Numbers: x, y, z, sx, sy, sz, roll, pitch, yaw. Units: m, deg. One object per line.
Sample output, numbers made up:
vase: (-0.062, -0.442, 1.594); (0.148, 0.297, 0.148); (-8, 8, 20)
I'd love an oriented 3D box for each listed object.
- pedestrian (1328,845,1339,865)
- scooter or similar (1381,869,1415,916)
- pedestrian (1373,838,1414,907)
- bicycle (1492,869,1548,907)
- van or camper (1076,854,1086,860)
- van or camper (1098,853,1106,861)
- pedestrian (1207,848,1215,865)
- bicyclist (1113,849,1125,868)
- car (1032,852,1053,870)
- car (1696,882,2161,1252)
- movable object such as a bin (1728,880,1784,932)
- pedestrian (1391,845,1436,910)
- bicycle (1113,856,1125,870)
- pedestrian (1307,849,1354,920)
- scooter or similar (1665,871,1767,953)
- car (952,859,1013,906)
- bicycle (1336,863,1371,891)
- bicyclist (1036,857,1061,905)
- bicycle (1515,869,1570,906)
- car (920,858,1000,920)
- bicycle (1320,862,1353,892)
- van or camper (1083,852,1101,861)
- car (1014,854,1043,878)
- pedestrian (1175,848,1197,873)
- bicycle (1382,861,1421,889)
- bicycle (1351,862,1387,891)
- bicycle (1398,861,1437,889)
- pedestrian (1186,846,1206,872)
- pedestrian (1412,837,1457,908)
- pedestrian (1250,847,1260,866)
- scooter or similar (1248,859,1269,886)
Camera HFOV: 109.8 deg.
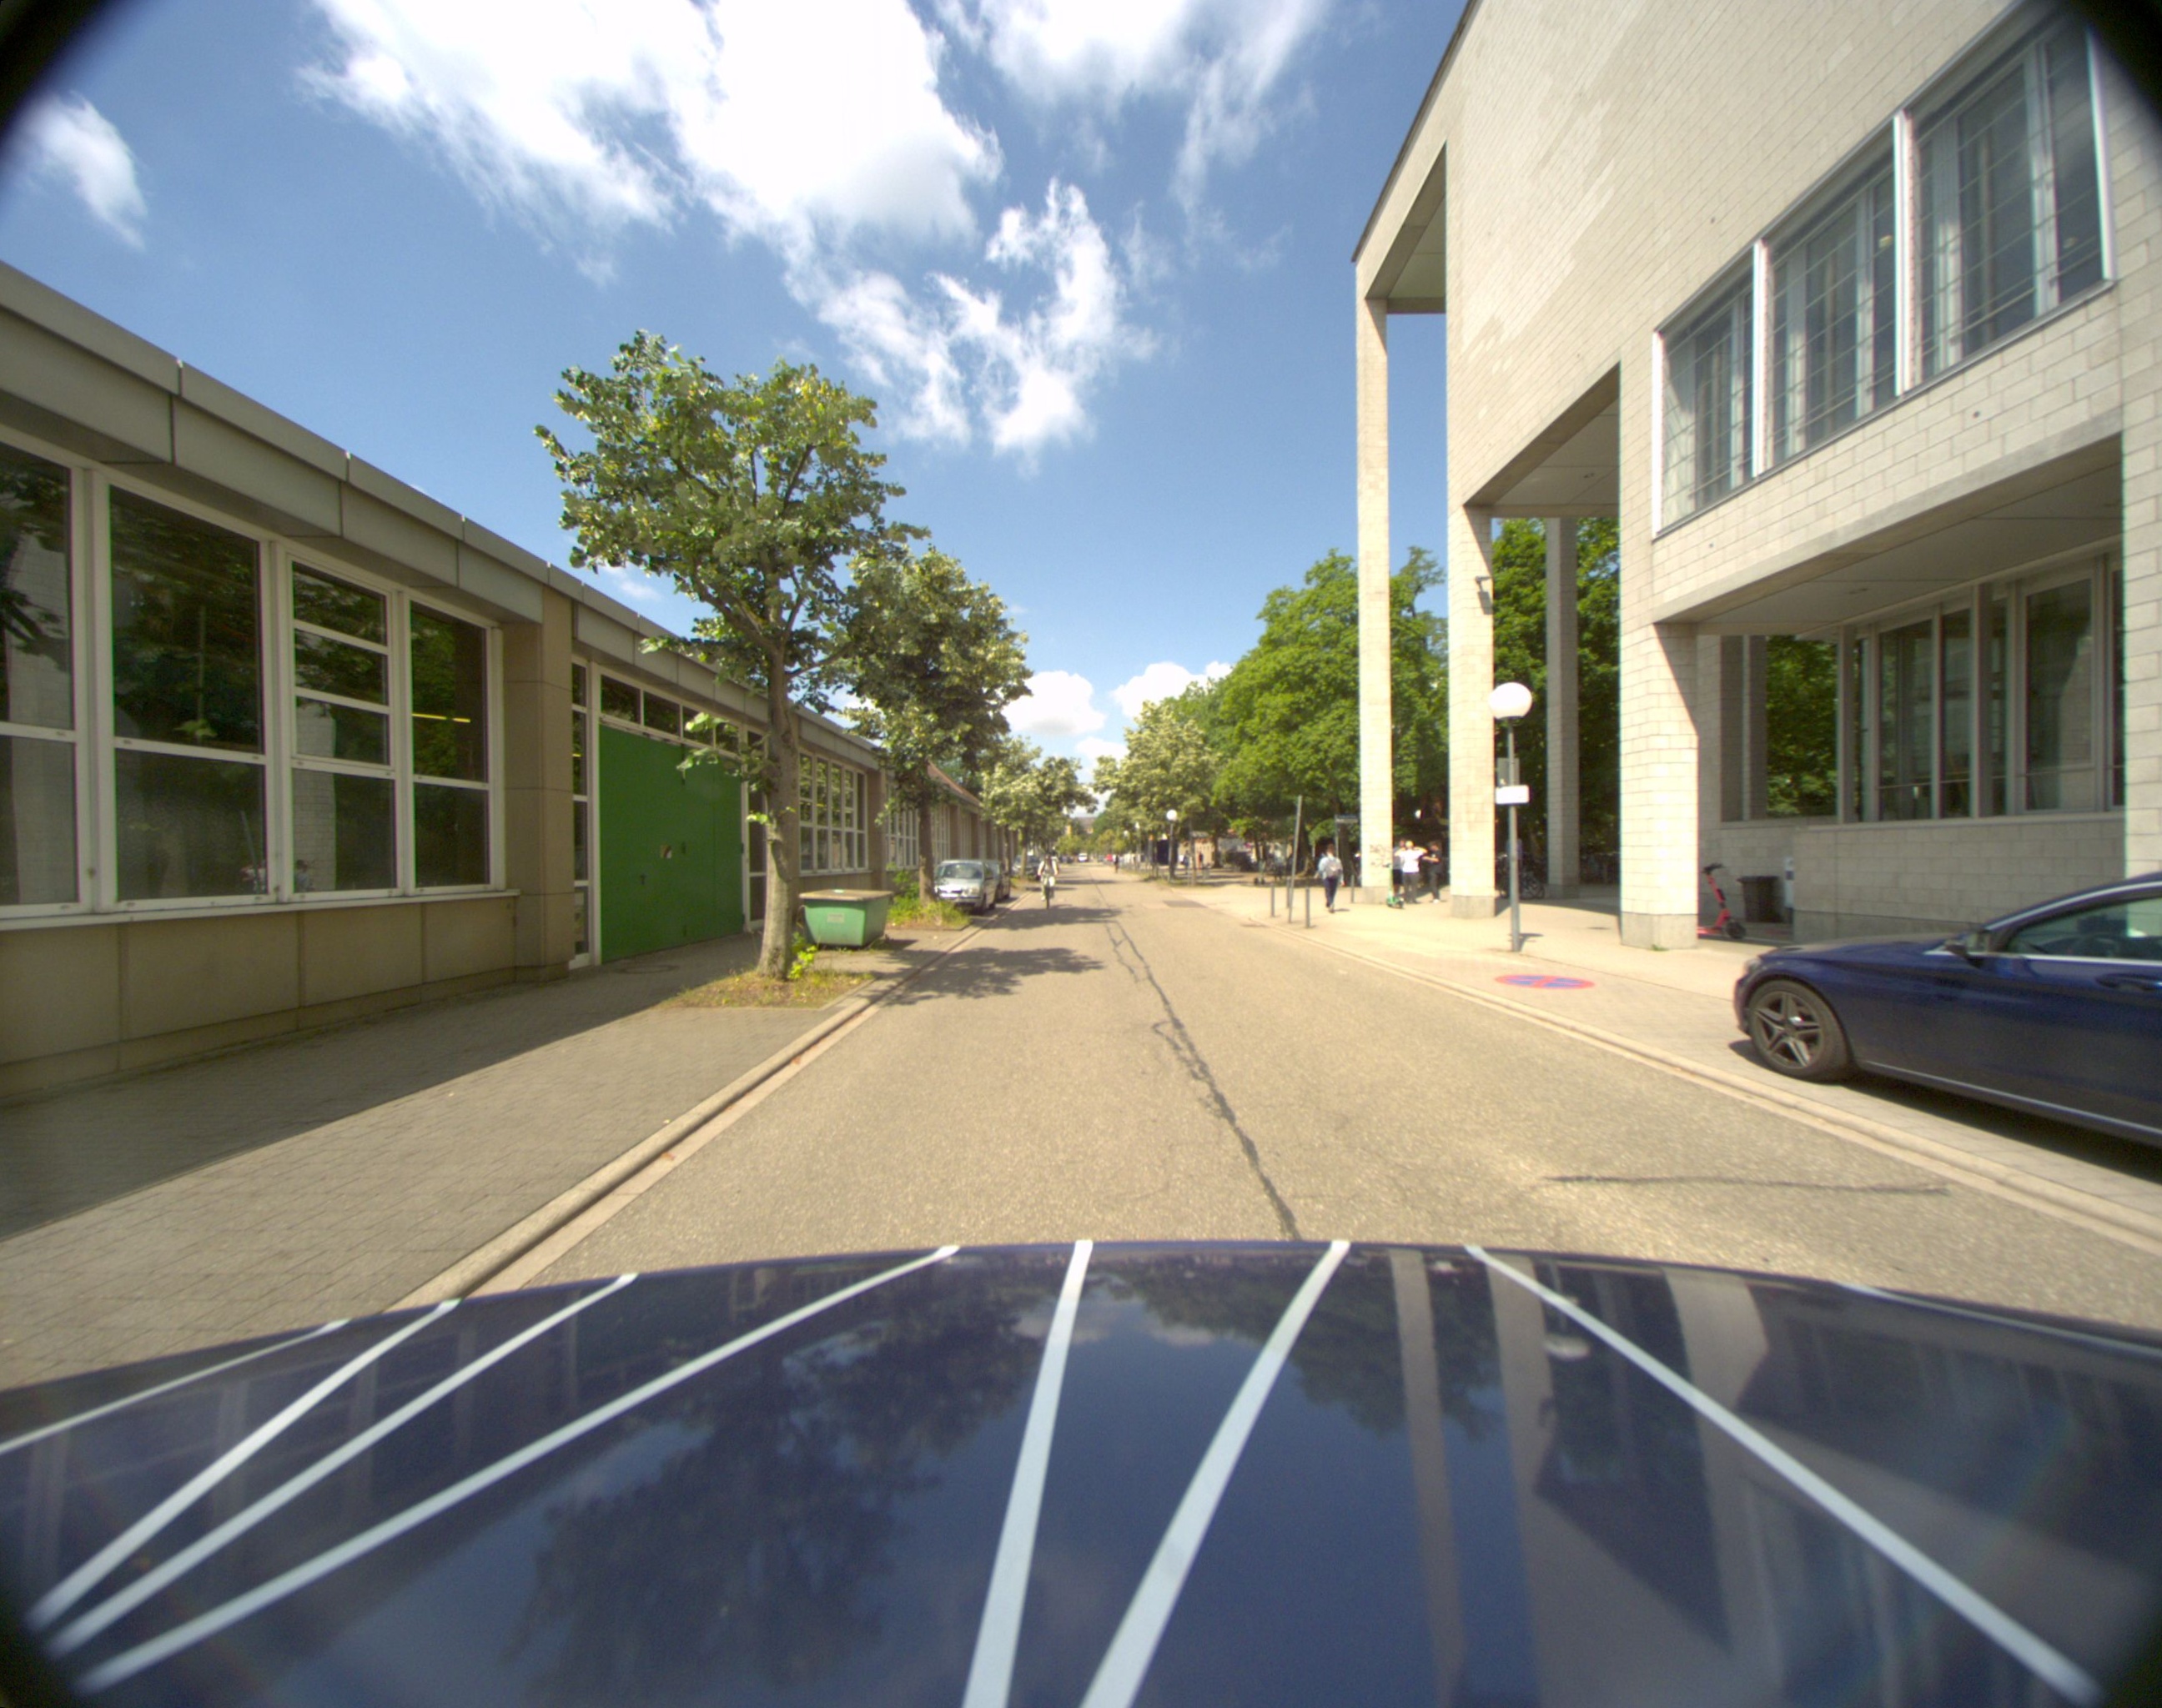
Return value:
pedestrian: (20.059, 0.077, 60.308); (0.587, 1.522, 0.503); (-2, 1, -21)
scooter or similar: (8.241, 0.983, 19.803); (0.317, 1.138, 1.313); (-1, 0, 0)
pedestrian: (9.351, 0.530, 22.780); (0.755, 2.002, 1.081); (-1, 1, -1)
bicycle: (12.845, 0.977, 22.308); (0.596, 0.980, 1.965); (-1, 1, 3)
van or camper: (0.080, 0.889, 230.117); (2.092, 1.963, 4.263); (-1, 1, 14)
van or camper: (6.085, 0.837, 221.341); (1.852, 2.093, 4.306); (-1, 1, 10)
pedestrian: (12.419, 0.223, 72.387); (0.678, 1.661, 0.815); (-1, 1, 6)
bicyclist: (3.478, 0.389, 69.925); (1.053, 1.690, 1.282); (-1, 1, 0)
car: (-3.260, 0.610, 65.544); (1.649, 1.484, 3.815); (1, 1, -1)
car: (5.359, 0.936, 3.226); (1.730, 1.414, 4.664); (-1, 0, 0)
movable object such as a bin: (13.433, 1.025, 15.143); (0.484, 0.973, 0.702); (-1, 1, 0)
pedestrian: (9.314, 0.636, 21.321); (0.755, 1.770, 1.081); (-1, 1, -1)
bicycle: (3.490, 0.791, 70.068); (1.011, 1.169, 3.394); (-1, 1, 1)
pedestrian: (6.318, 0.752, 19.324); (0.761, 1.715, 1.235); (-3, 1, 3)
scooter or similar: (10.082, 0.892, 12.087); (1.212, 1.225, 0.402); (-1, 1, 41)
car: (-3.384, 0.935, 26.705); (1.622, 1.455, 3.817); (2, 0, -1)
bicycle: (10.935, 0.901, 30.553); (0.592, 1.052, 2.124); (-1, 1, -1)
bicyclist: (-1.022, 0.849, 23.932); (0.781, 1.478, 0.695); (0, 1, -2)
bicycle: (13.469, 0.964, 22.253); (0.517, 0.980, 1.965); (-1, 1, 3)
car: (-3.278, 0.911, 21.200); (1.622, 1.503, 3.817); (2, 0, -1)
bicycle: (10.252, 0.907, 30.541); (0.508, 1.100, 2.000); (-1, 0, -4)
van or camper: (2.840, 0.642, 189.212); (1.994, 2.348, 4.392); (0, 0, 43)
car: (-3.420, 0.749, 49.901); (1.649, 1.484, 3.815); (1, 1, -1)
pedestrian: (7.853, 0.452, 56.939); (1.400, 1.813, 1.369); (-1, 1, -1)
bicycle: (12.885, 0.821, 30.590); (0.622, 1.052, 2.124); (-1, 1, -1)
bicycle: (11.573, 0.887, 30.569); (0.622, 1.052, 2.124); (-1, 1, -1)
bicycle: (13.534, 0.831, 30.610); (0.622, 1.052, 2.124); (-1, 1, -1)
pedestrian: (9.227, 0.384, 61.090); (1.400, 2.002, 1.369); (-1, 1, -1)
pedestrian: (10.159, 0.519, 21.870); (0.755, 2.002, 1.081); (-1, 1, -1)
pedestrian: (15.230, 0.206, 66.486); (0.678, 1.661, 0.815); (-1, 1, 6)
scooter or similar: (8.408, 0.876, 35.875); (0.713, 1.184, 1.617); (-1, 1, 22)
